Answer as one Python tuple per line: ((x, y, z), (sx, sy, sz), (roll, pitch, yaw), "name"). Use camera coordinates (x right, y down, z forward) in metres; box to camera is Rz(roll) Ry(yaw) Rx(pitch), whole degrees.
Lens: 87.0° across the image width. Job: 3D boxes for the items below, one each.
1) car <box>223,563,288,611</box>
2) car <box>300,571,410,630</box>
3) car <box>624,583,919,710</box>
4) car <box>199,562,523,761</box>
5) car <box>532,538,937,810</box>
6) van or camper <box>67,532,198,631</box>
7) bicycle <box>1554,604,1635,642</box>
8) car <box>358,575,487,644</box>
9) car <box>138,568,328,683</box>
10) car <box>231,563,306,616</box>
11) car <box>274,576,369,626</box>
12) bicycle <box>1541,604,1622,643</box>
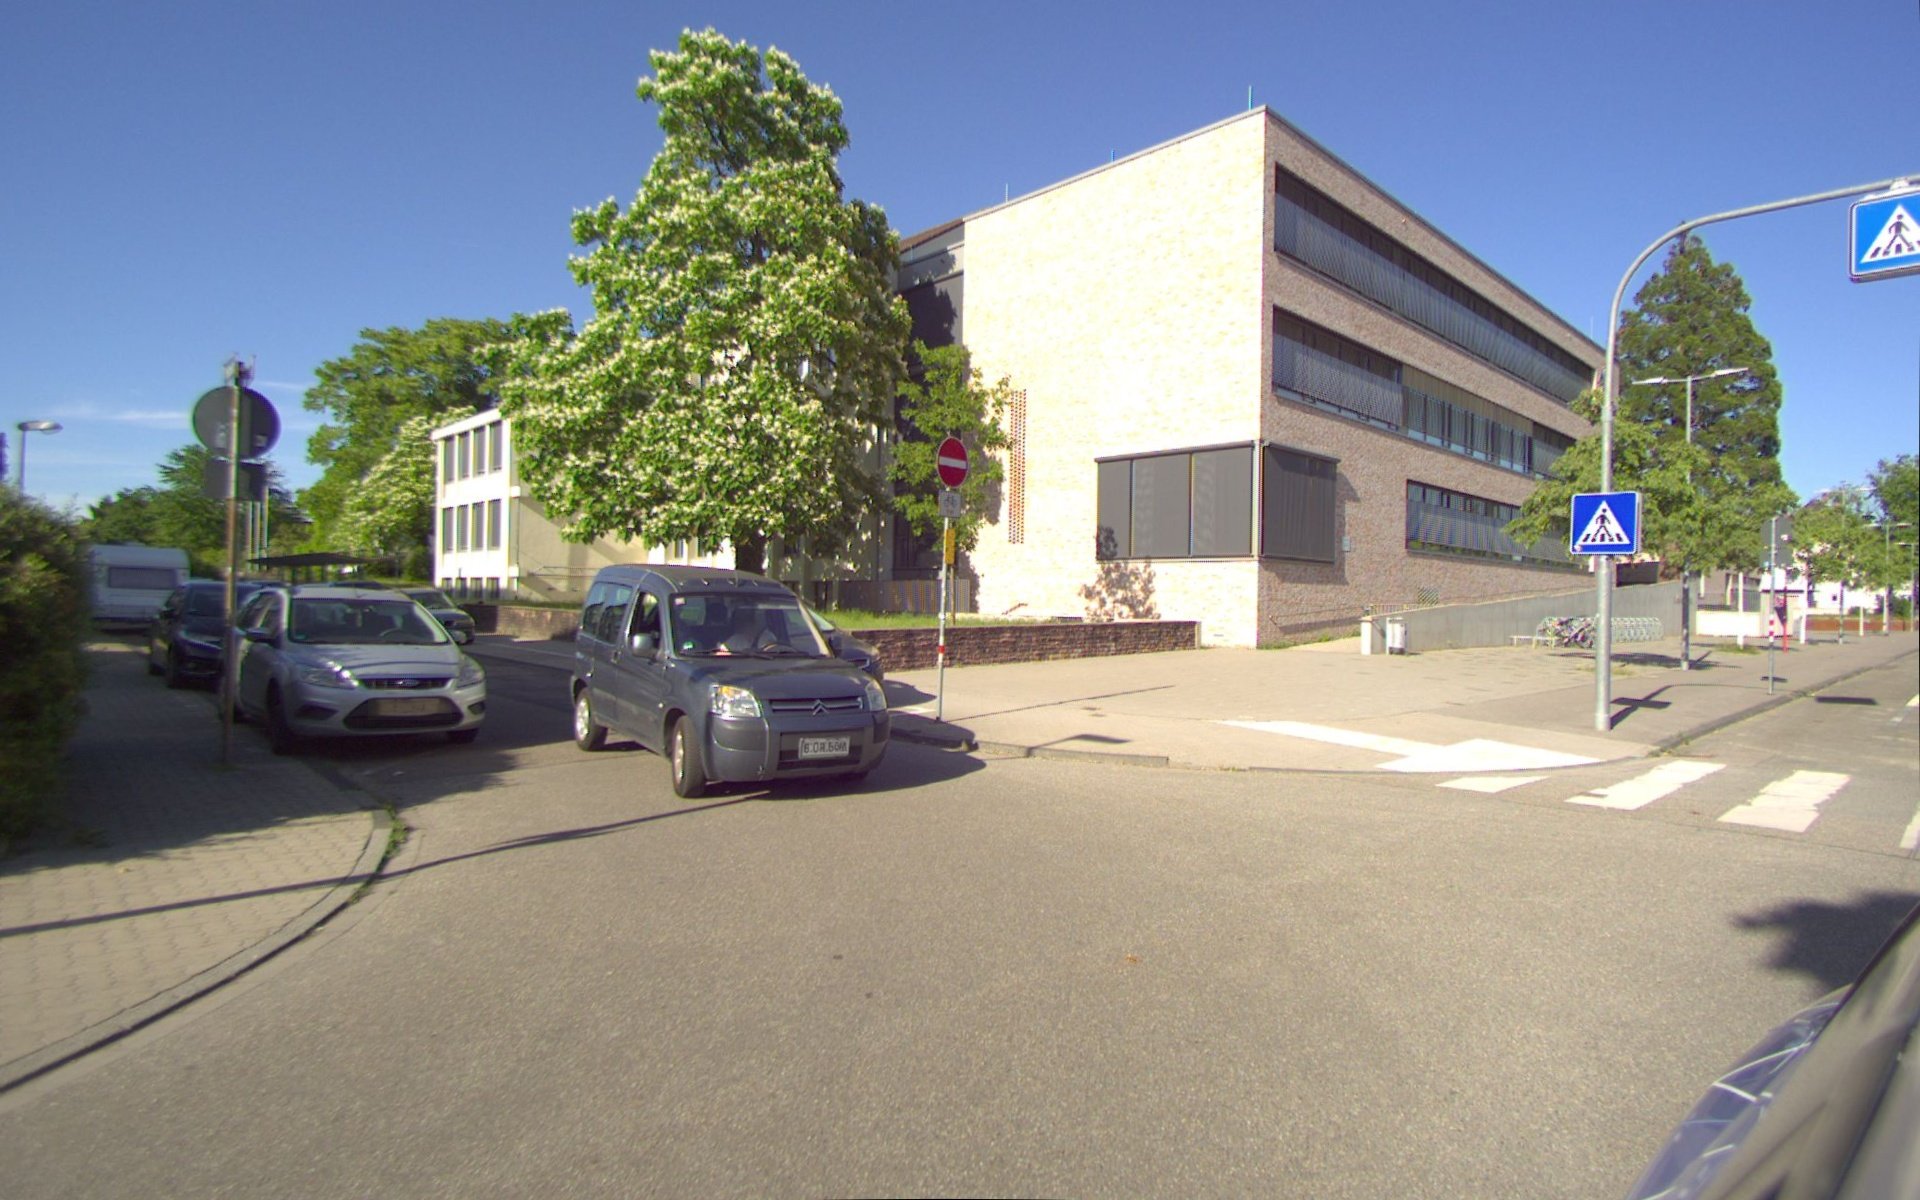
((-31.511, -0.570, 45.228), (1.753, 2.039, 4.551), (1, 0, -43), "car")
((-18.495, -0.021, 30.859), (1.966, 1.648, 4.551), (1, 0, -43), "car")
((-2.792, 0.518, 14.251), (1.876, 1.493, 4.548), (0, 1, -45), "car")
((-6.412, 0.474, 10.596), (1.883, 1.644, 4.409), (1, 0, -45), "car")
((-2.207, 0.468, 8.961), (1.869, 1.812, 4.153), (1, 0, -39), "car")
((-23.777, -0.524, 28.996), (2.435, 2.570, 5.229), (1, 0, -45), "van or camper")
((20.806, 0.739, 33.220), (0.845, 1.077, 2.083), (1, 3, -42), "bicycle")
((-13.788, 0.169, 25.846), (1.870, 1.498, 4.153), (-4, 4, -43), "car")
((-11.231, 0.313, 15.533), (1.793, 1.530, 3.973), (1, 0, -44), "car")
((-27.930, -0.429, 40.819), (1.966, 2.039, 4.554), (1, 0, -41), "car")
((-21.881, 0.001, 34.617), (1.899, 1.602, 4.551), (1, 0, -43), "car")
((19.861, 0.723, 32.376), (0.868, 1.076, 2.027), (1, 3, -44), "bicycle")
